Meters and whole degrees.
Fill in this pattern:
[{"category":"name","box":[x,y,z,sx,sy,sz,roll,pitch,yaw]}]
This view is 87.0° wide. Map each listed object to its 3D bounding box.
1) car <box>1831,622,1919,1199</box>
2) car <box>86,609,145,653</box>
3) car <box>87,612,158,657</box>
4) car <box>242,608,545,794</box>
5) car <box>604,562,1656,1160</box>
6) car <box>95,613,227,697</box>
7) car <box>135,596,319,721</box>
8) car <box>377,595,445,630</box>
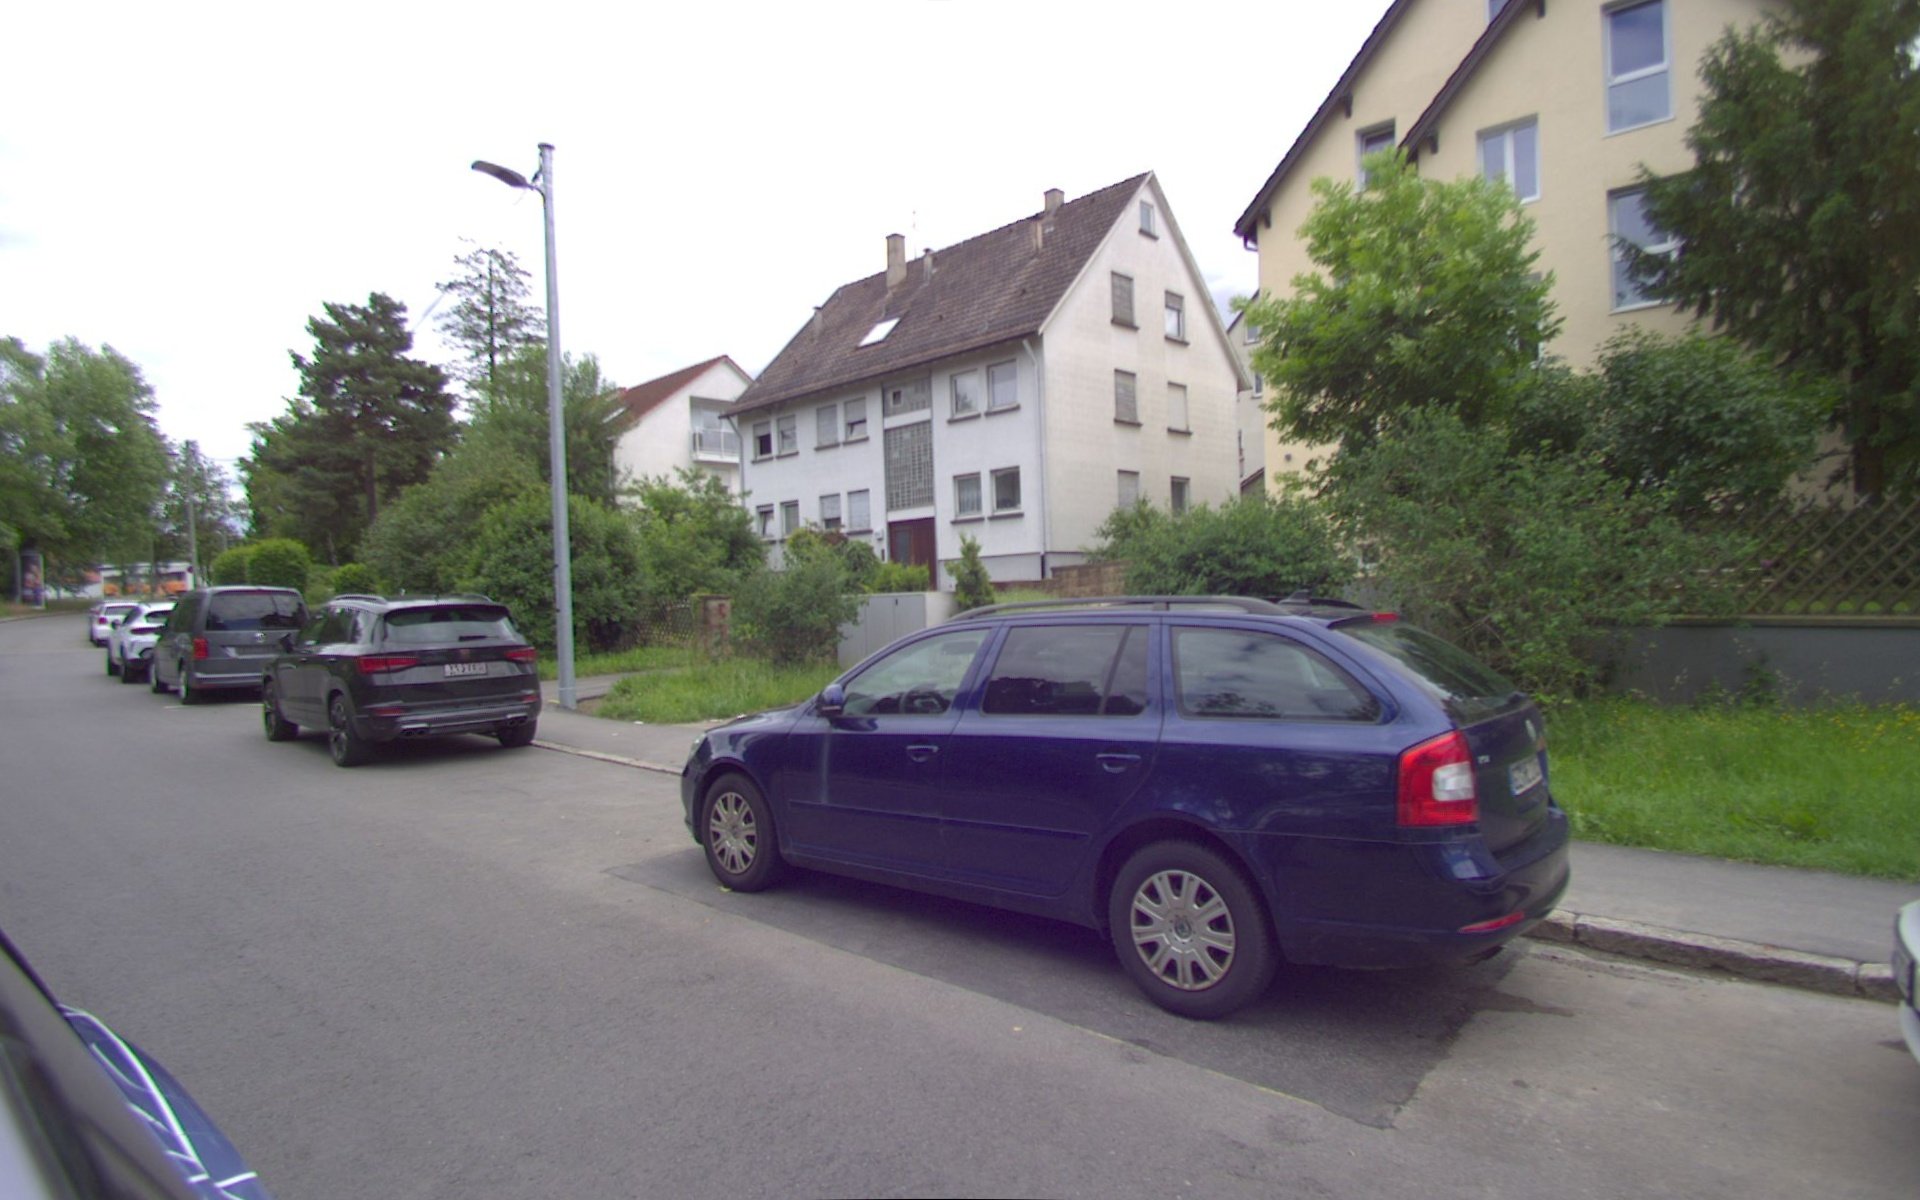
[{"category":"car","box":[4.320,0.734,1.357,4.723,1.400,1.707,-1,-2,40]},{"category":"car","box":[-31.163,1.133,37.325,1.582,1.542,3.593,1,-2,-40]},{"category":"car","box":[-28.271,1.137,34.120,1.711,1.439,3.462,1,-1,-42]},{"category":"car","box":[-6.091,0.902,10.674,4.078,1.594,1.643,-1,-2,44]},{"category":"car","box":[0.366,0.787,4.908,4.810,1.585,1.709,-2,-3,39]},{"category":"car","box":[-16.115,1.041,20.341,1.642,1.517,4.048,1,-2,-44]},{"category":"car","box":[-12.184,0.886,16.731,4.065,1.814,1.776,-1,-2,44]},{"category":"car","box":[-22.168,0.520,40.800,1.625,1.342,3.910,2,-2,-40]}]
